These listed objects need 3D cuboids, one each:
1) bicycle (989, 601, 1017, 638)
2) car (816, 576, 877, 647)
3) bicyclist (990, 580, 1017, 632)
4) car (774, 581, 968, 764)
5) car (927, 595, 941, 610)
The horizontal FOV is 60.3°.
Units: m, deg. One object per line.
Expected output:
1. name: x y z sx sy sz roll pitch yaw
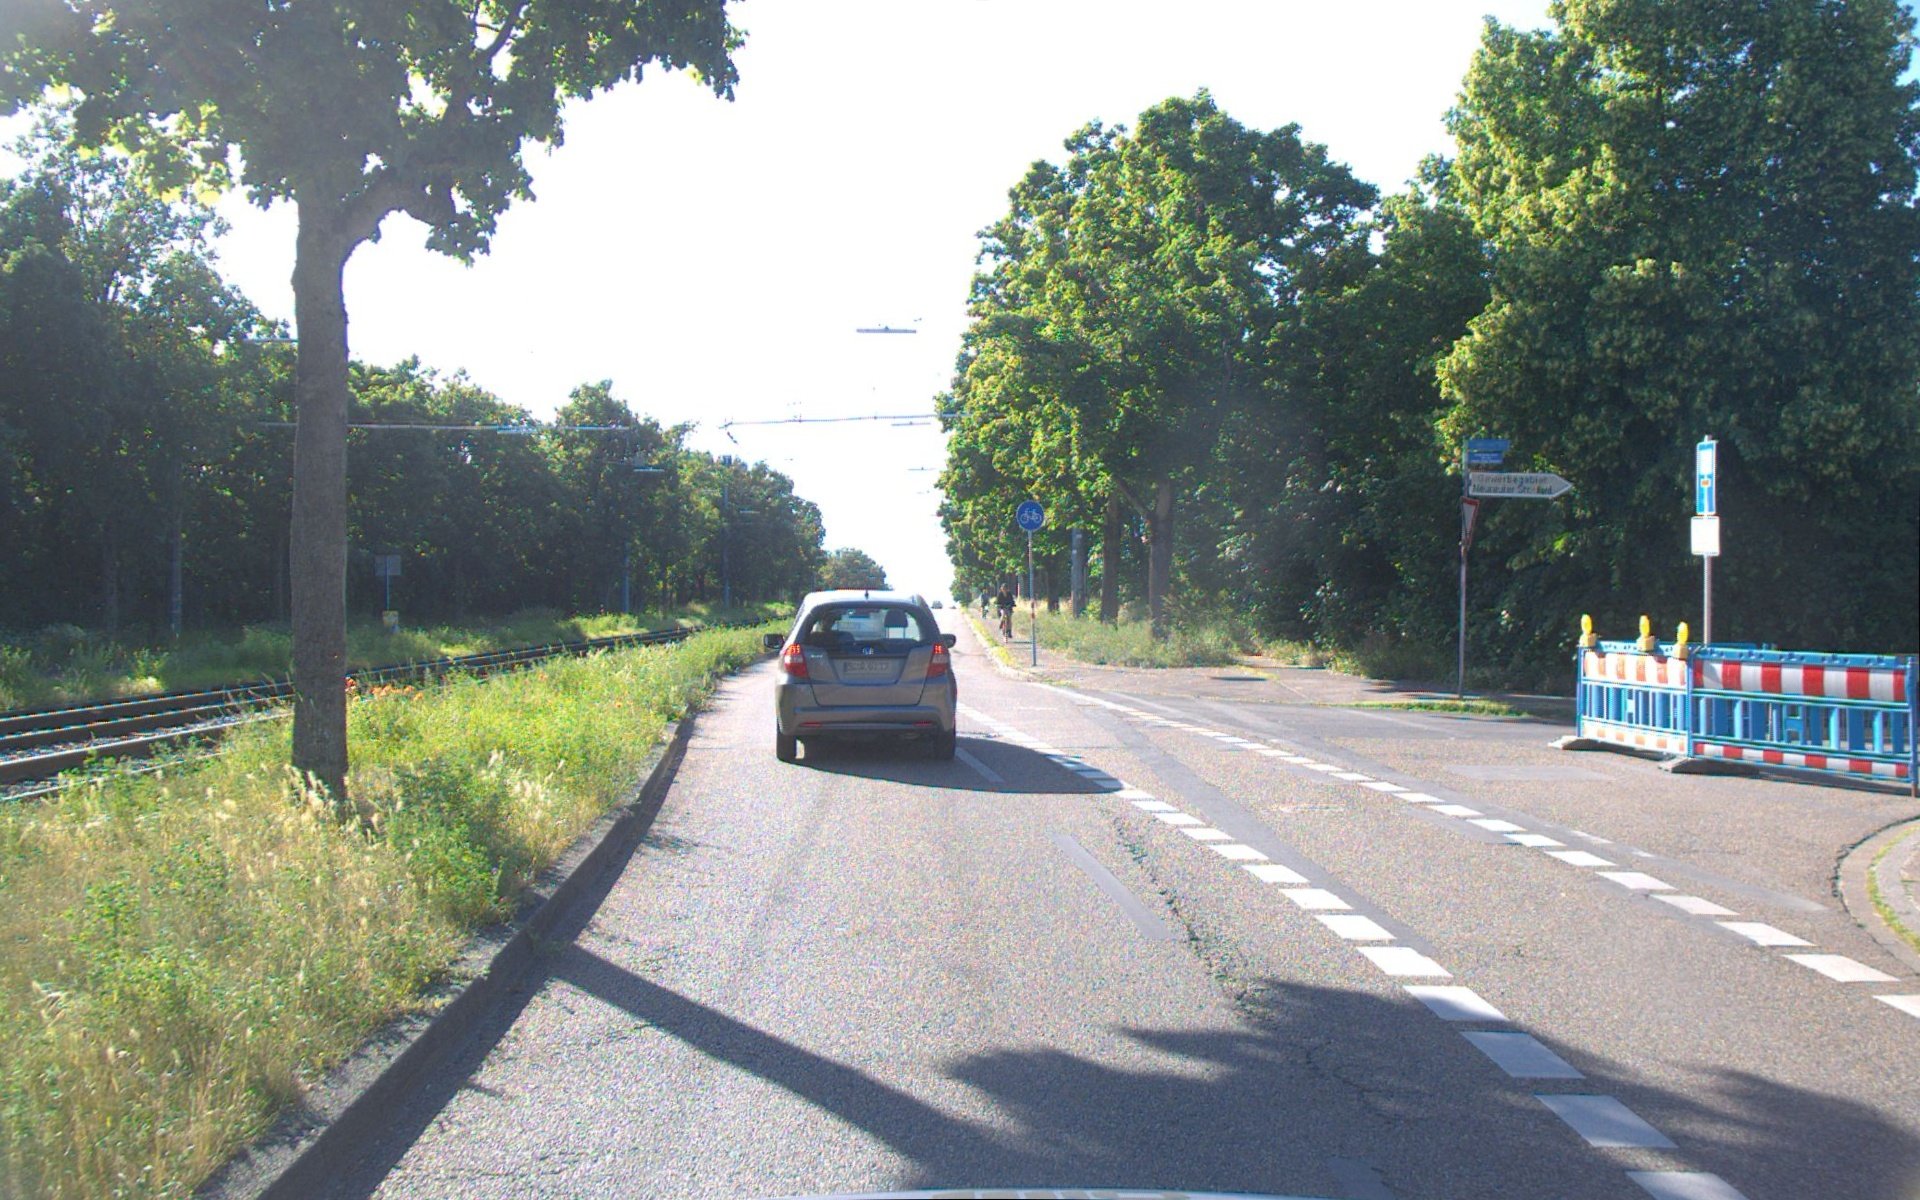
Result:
1. bicycle: 1.300 0.608 50.296 0.801 1.066 2.506 1 -2 1
2. car: -2.613 0.281 37.975 1.325 1.554 3.120 0 -1 -4
3. bicyclist: 1.314 0.197 50.328 0.801 1.551 0.966 1 -2 1
4. car: -0.899 0.614 16.164 1.638 1.542 3.671 2 1 -4
5. car: -4.023 0.372 255.488 1.953 2.048 4.000 -5 -1 0
